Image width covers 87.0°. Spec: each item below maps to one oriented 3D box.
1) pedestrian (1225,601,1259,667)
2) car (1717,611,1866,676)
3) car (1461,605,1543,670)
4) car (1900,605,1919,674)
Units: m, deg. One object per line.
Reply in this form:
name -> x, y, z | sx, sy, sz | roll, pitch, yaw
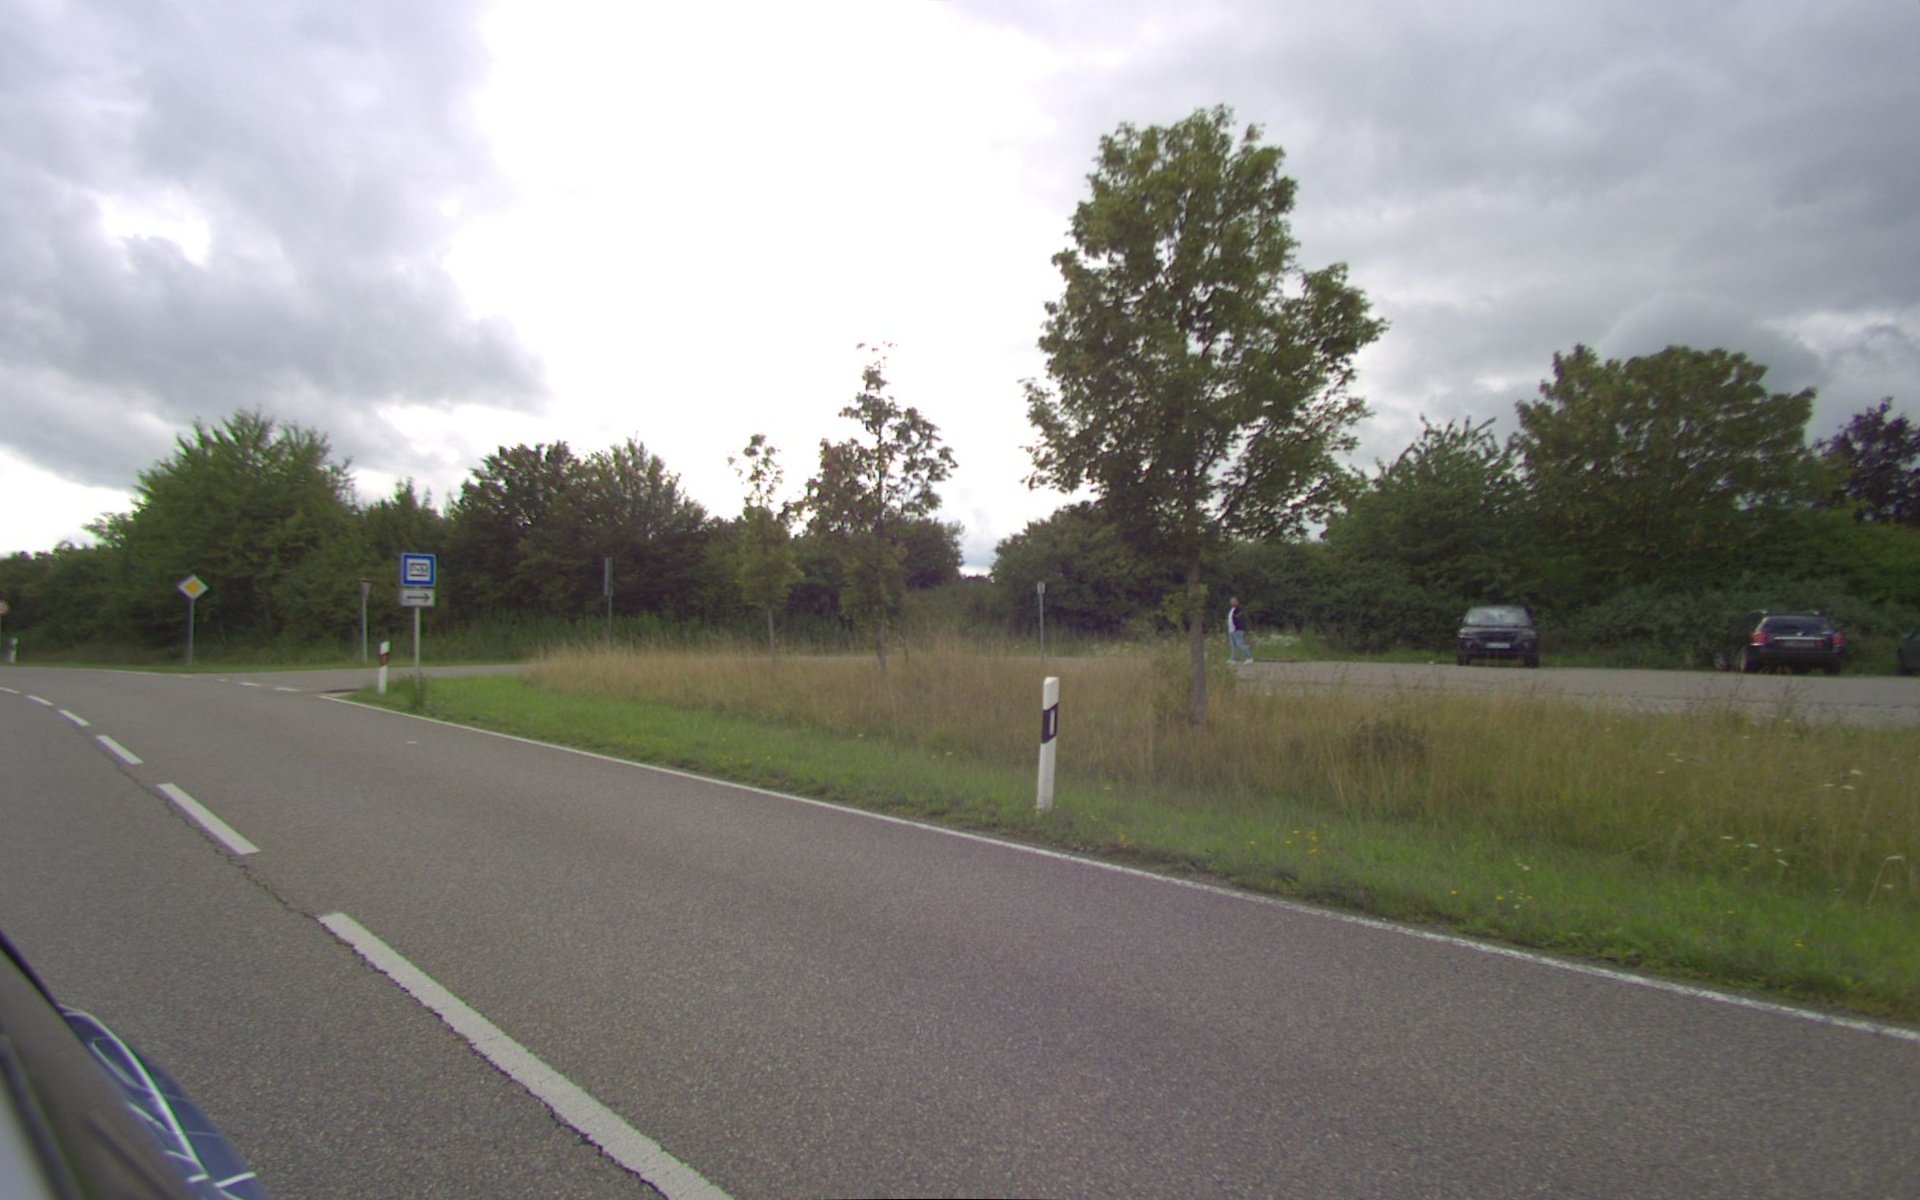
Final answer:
pedestrian -> 7.244, 0.873, 25.993 | 0.659, 1.679, 0.511 | -2, -1, 34
car -> 19.406, 0.968, 23.818 | 1.814, 1.390, 3.964 | -2, -1, 26
car -> 14.263, 0.935, 26.723 | 1.749, 1.578, 4.214 | -2, -1, 28
car -> 22.562, 0.895, 22.371 | 1.752, 1.578, 4.208 | -2, -1, 32
